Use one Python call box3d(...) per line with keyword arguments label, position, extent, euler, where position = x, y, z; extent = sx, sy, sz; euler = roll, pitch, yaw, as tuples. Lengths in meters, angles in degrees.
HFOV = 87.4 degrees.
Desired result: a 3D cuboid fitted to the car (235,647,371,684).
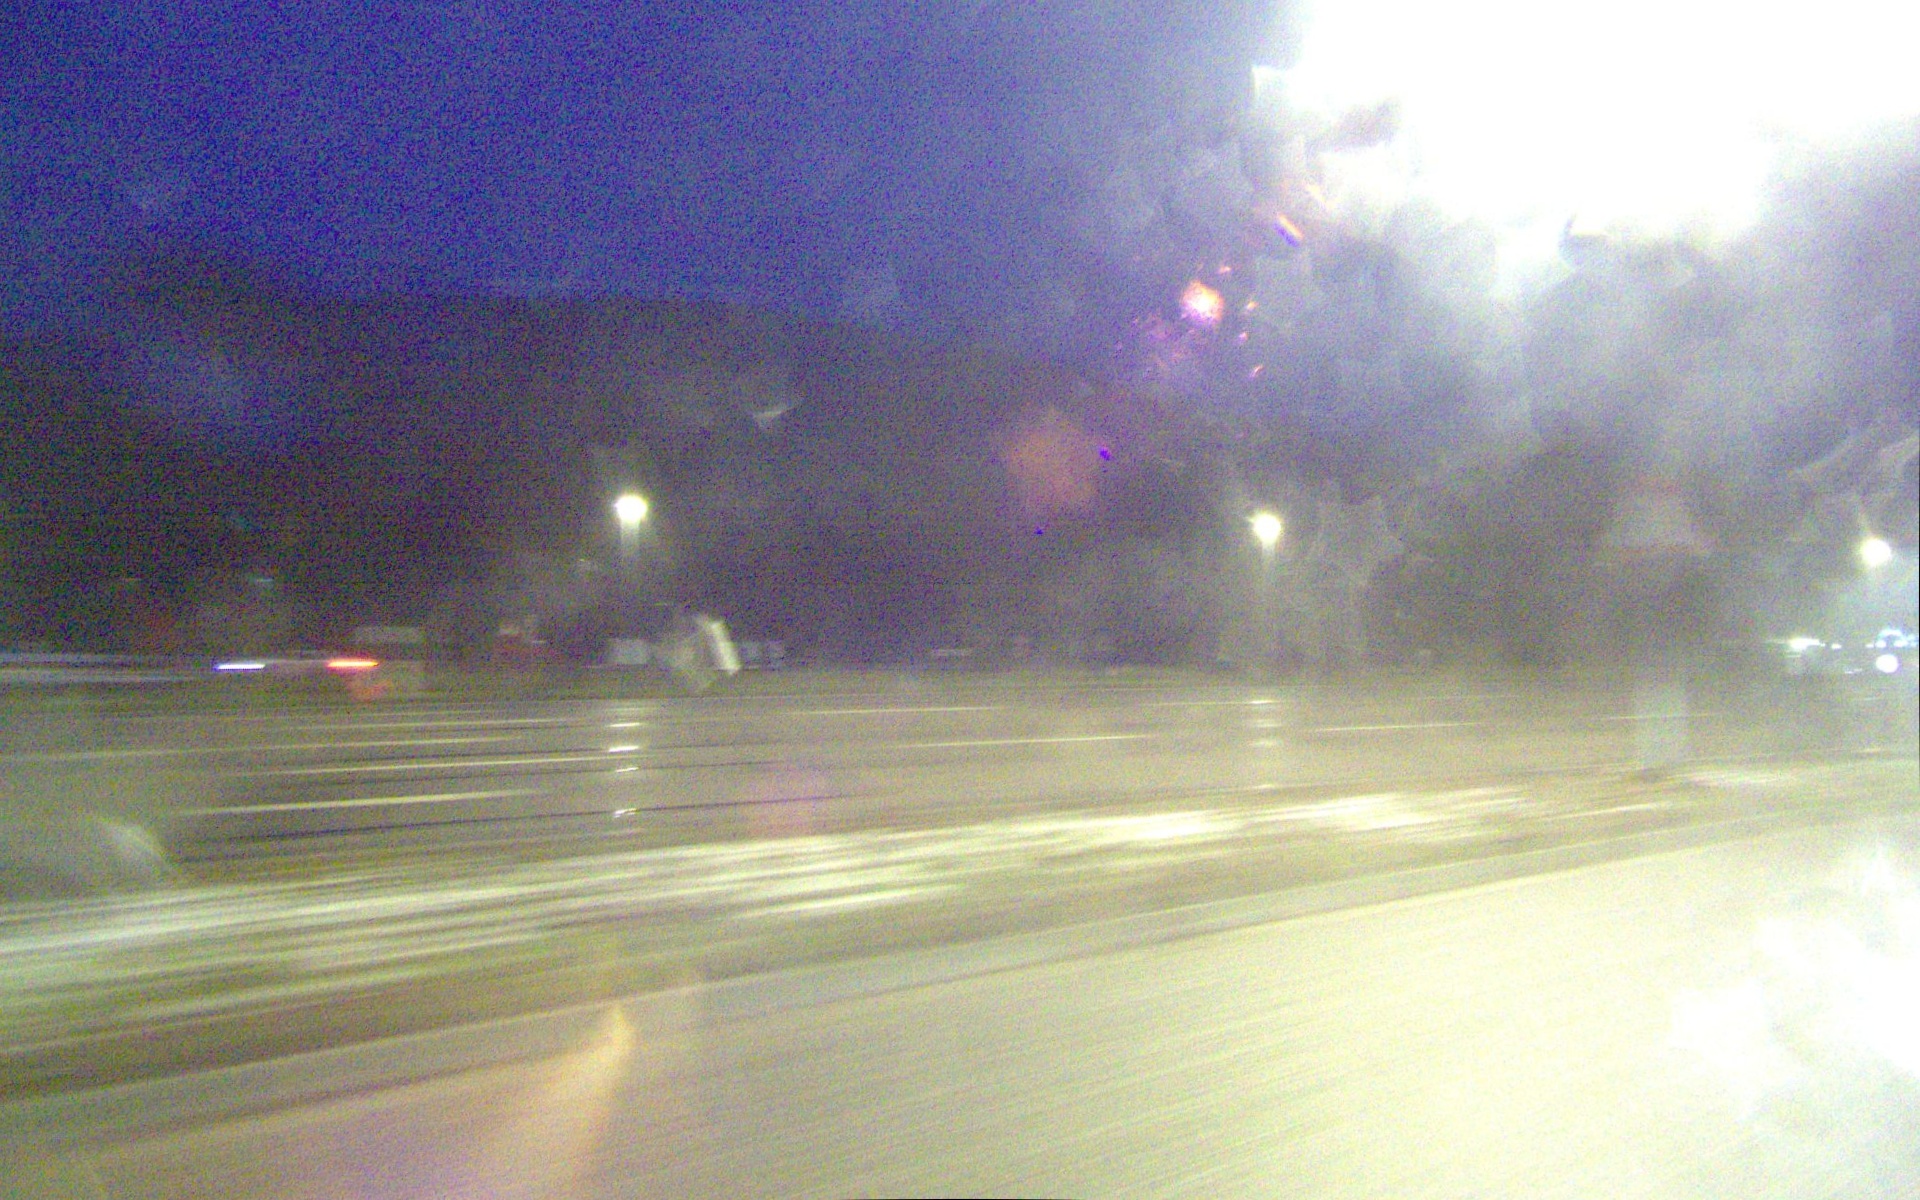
box3d(label="car", position=(-28.175, 2.812, 43.257), extent=(4.486, 1.416, 1.991), euler=(3, -2, -21))
